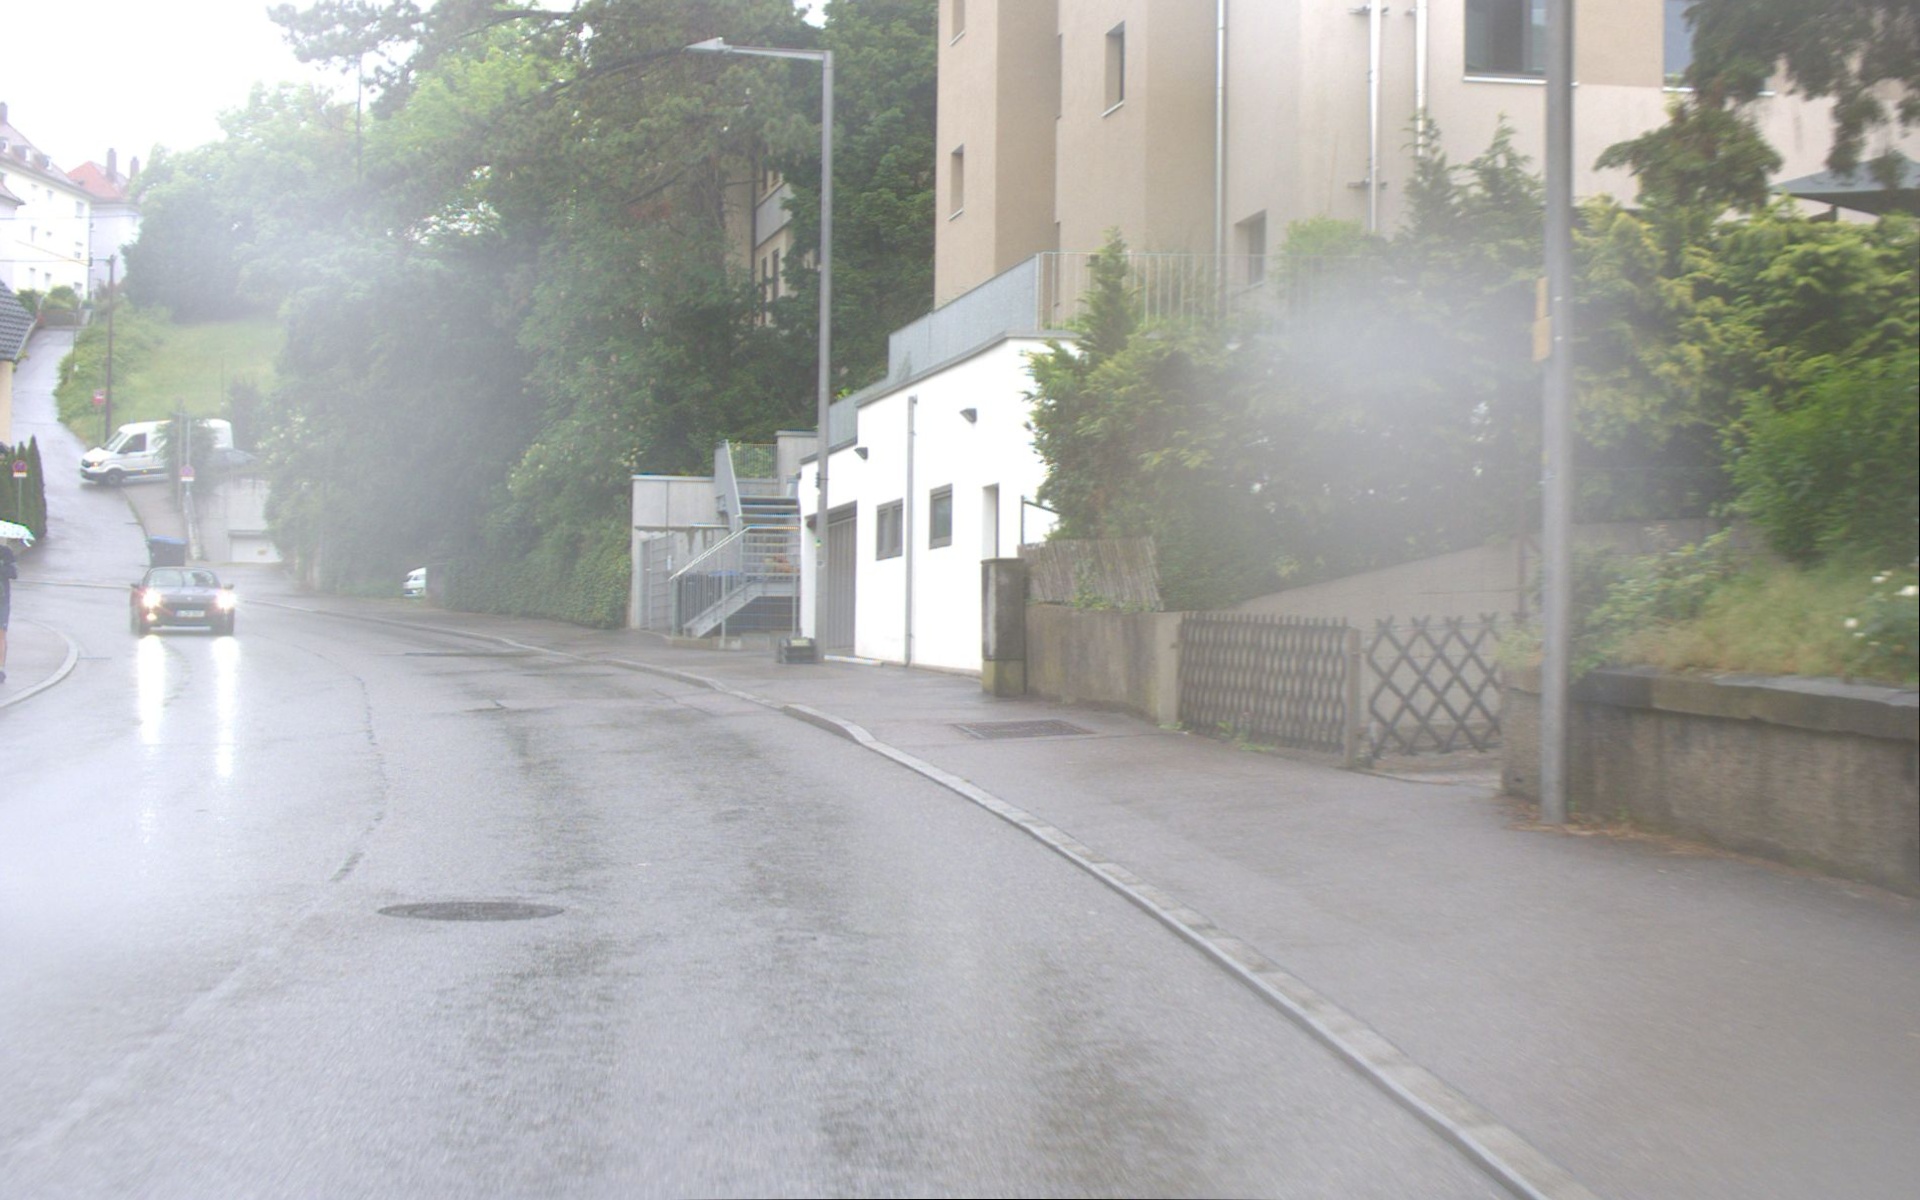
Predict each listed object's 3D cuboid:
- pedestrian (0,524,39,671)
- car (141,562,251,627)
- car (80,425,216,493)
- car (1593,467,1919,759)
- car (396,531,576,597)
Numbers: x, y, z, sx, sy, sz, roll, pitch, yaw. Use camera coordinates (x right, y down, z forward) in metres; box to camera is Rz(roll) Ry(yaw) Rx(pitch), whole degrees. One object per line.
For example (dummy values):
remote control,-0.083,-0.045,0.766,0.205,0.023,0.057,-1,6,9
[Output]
pedestrian,-10.922,-0.044,38.968,0.755,1.638,1.040,3,0,-9
car,-14.377,-0.125,64.828,1.679,1.142,4.001,0,1,-7
car,-32.240,-5.592,136.587,4.942,2.560,1.905,-2,2,-22
car,6.114,0.038,20.594,4.317,1.647,1.963,-1,1,3
car,-11.827,-0.907,85.734,4.142,1.471,1.905,-2,2,-18
